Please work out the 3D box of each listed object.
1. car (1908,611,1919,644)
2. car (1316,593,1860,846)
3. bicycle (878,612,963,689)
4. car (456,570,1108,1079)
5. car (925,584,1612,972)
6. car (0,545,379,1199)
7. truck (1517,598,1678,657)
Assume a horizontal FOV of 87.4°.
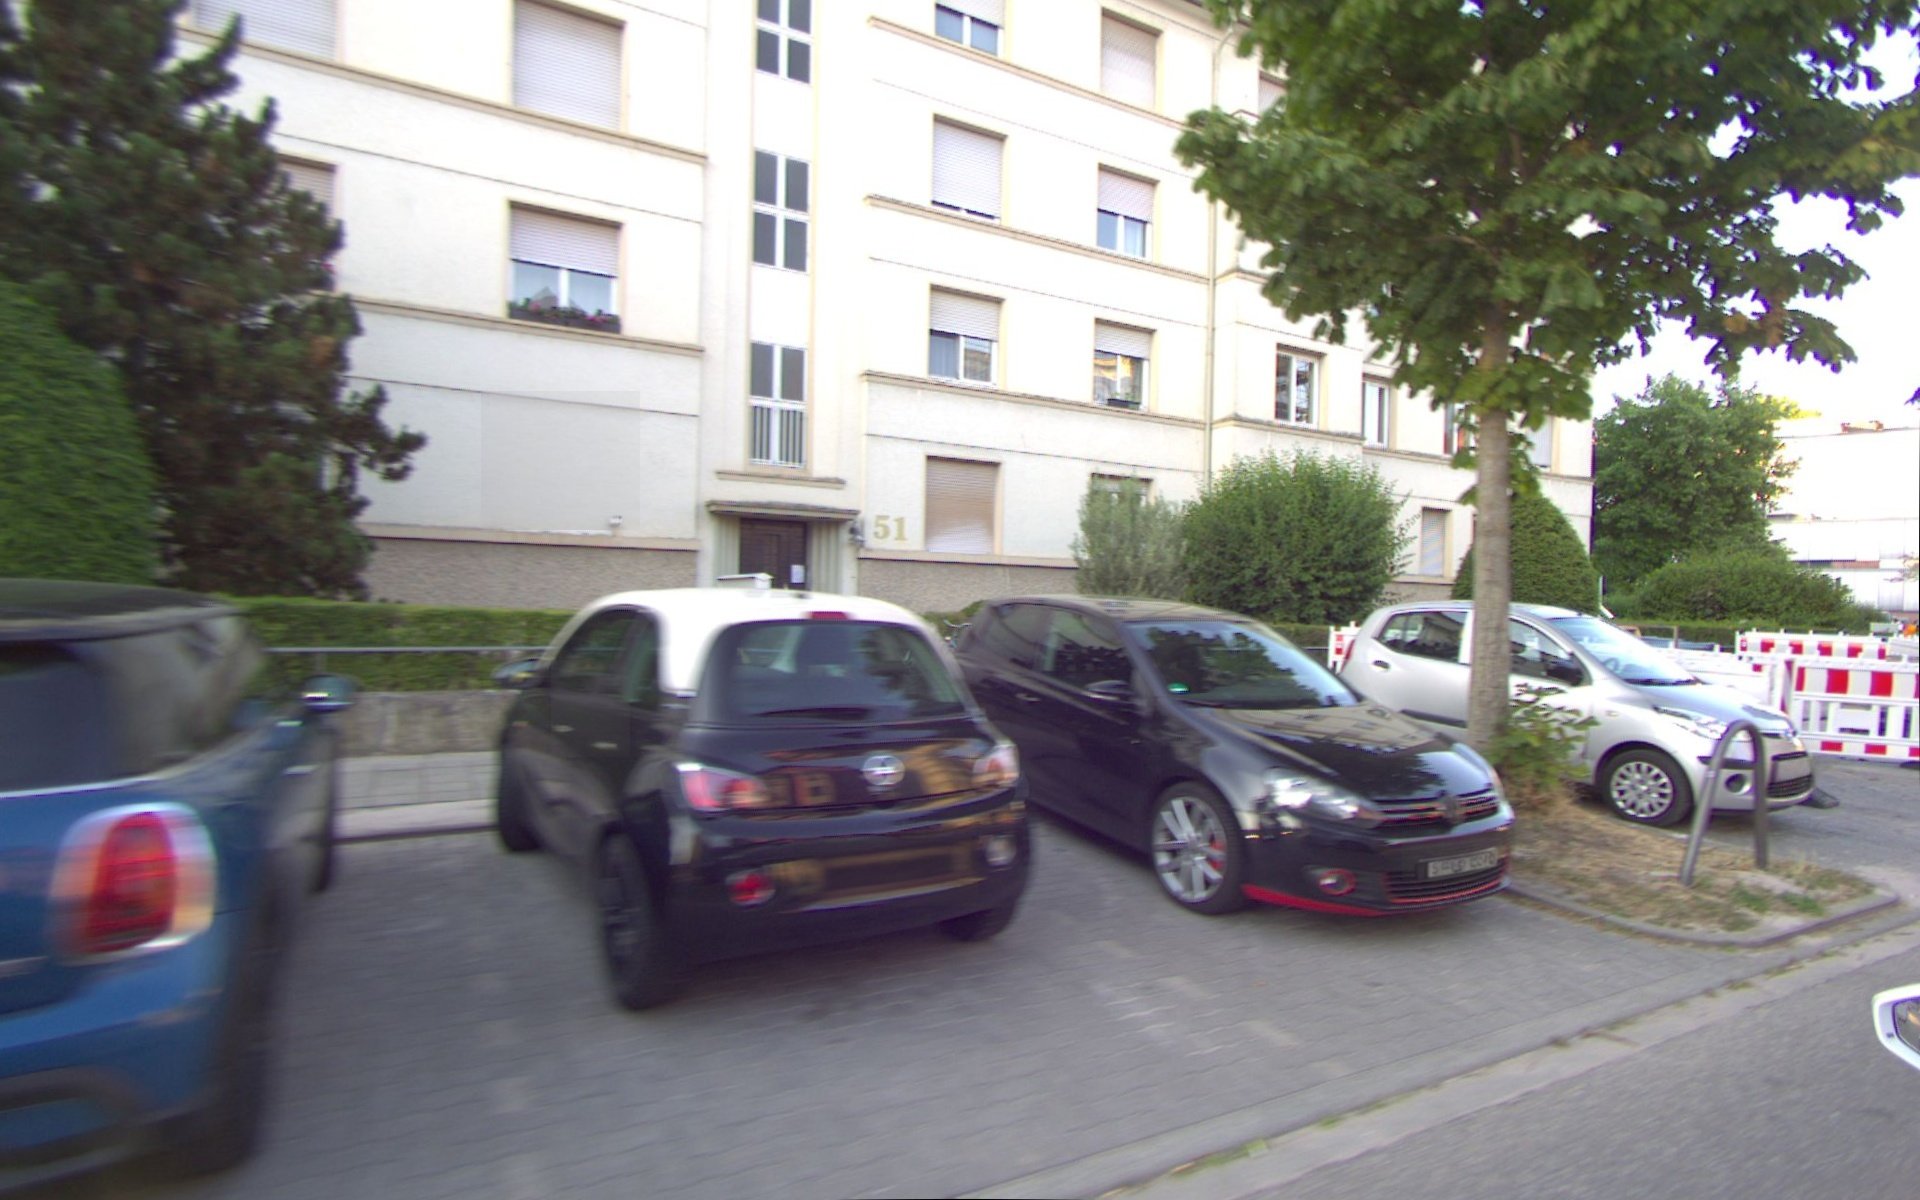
[{"bbox_3d":[51.862,1.494,53.355,1.970,1.715,3.980,1,0,41],"label":"car"},{"bbox_3d":[5.019,0.802,8.465,1.709,1.587,3.455,3,0,-32],"label":"car"},{"bbox_3d":[-0.594,0.689,14.346,0.359,1.021,1.924,1,-1,-29],"label":"bicycle"},{"bbox_3d":[-1.192,0.653,4.989,1.712,1.504,3.650,2,1,-37],"label":"car"},{"bbox_3d":[1.412,0.712,6.134,1.706,1.509,3.962,3,0,-27],"label":"car"},{"bbox_3d":[-3.035,0.571,3.367,1.707,1.464,3.661,3,0,-28],"label":"car"},{"bbox_3d":[28.829,1.173,45.546,5.952,2.455,2.099,1,1,39],"label":"truck"}]
